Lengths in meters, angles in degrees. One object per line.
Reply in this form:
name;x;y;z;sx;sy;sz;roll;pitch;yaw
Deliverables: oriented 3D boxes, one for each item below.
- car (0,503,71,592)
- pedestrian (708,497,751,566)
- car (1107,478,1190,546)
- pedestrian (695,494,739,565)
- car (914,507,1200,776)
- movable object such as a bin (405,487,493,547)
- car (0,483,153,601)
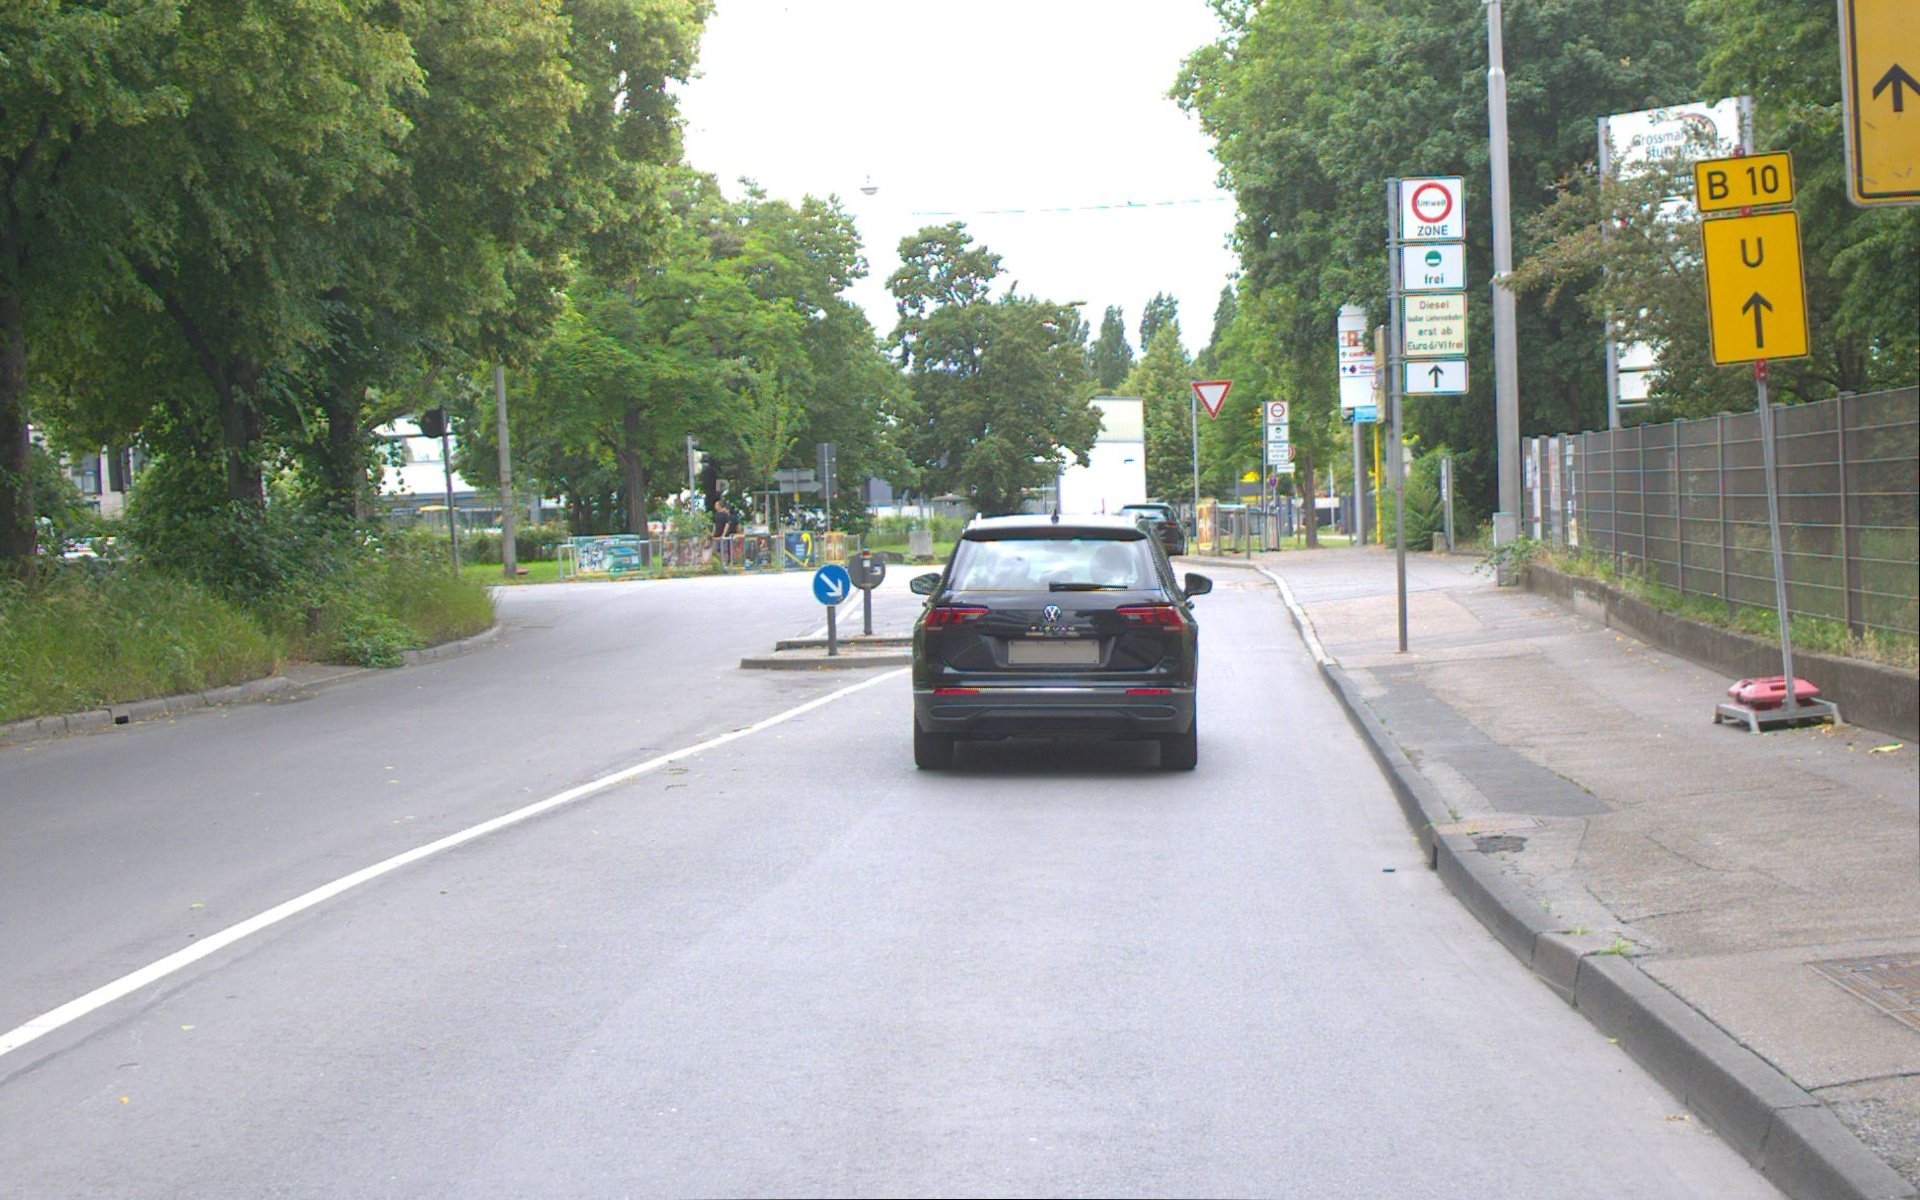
car;-22.962;-1.125;77.863;4.980;1.935;2.048;-2;2;9
pedestrian;-5.880;-1.751;87.754;0.743;1.736;0.725;-1;2;44
car;4.684;-2.179;84.875;1.659;1.569;3.828;-3;1;8
pedestrian;-6.142;-1.780;86.781;0.743;1.736;0.725;-1;2;44
car;0.636;0.206;22.776;1.739;1.612;3.641;0;2;1
movable object such as a bin;-17.991;-2.940;121.185;1.996;2.006;2.396;-1;2;25
car;-20.721;-1.203;74.030;6.070;2.379;2.395;-2;2;-3
